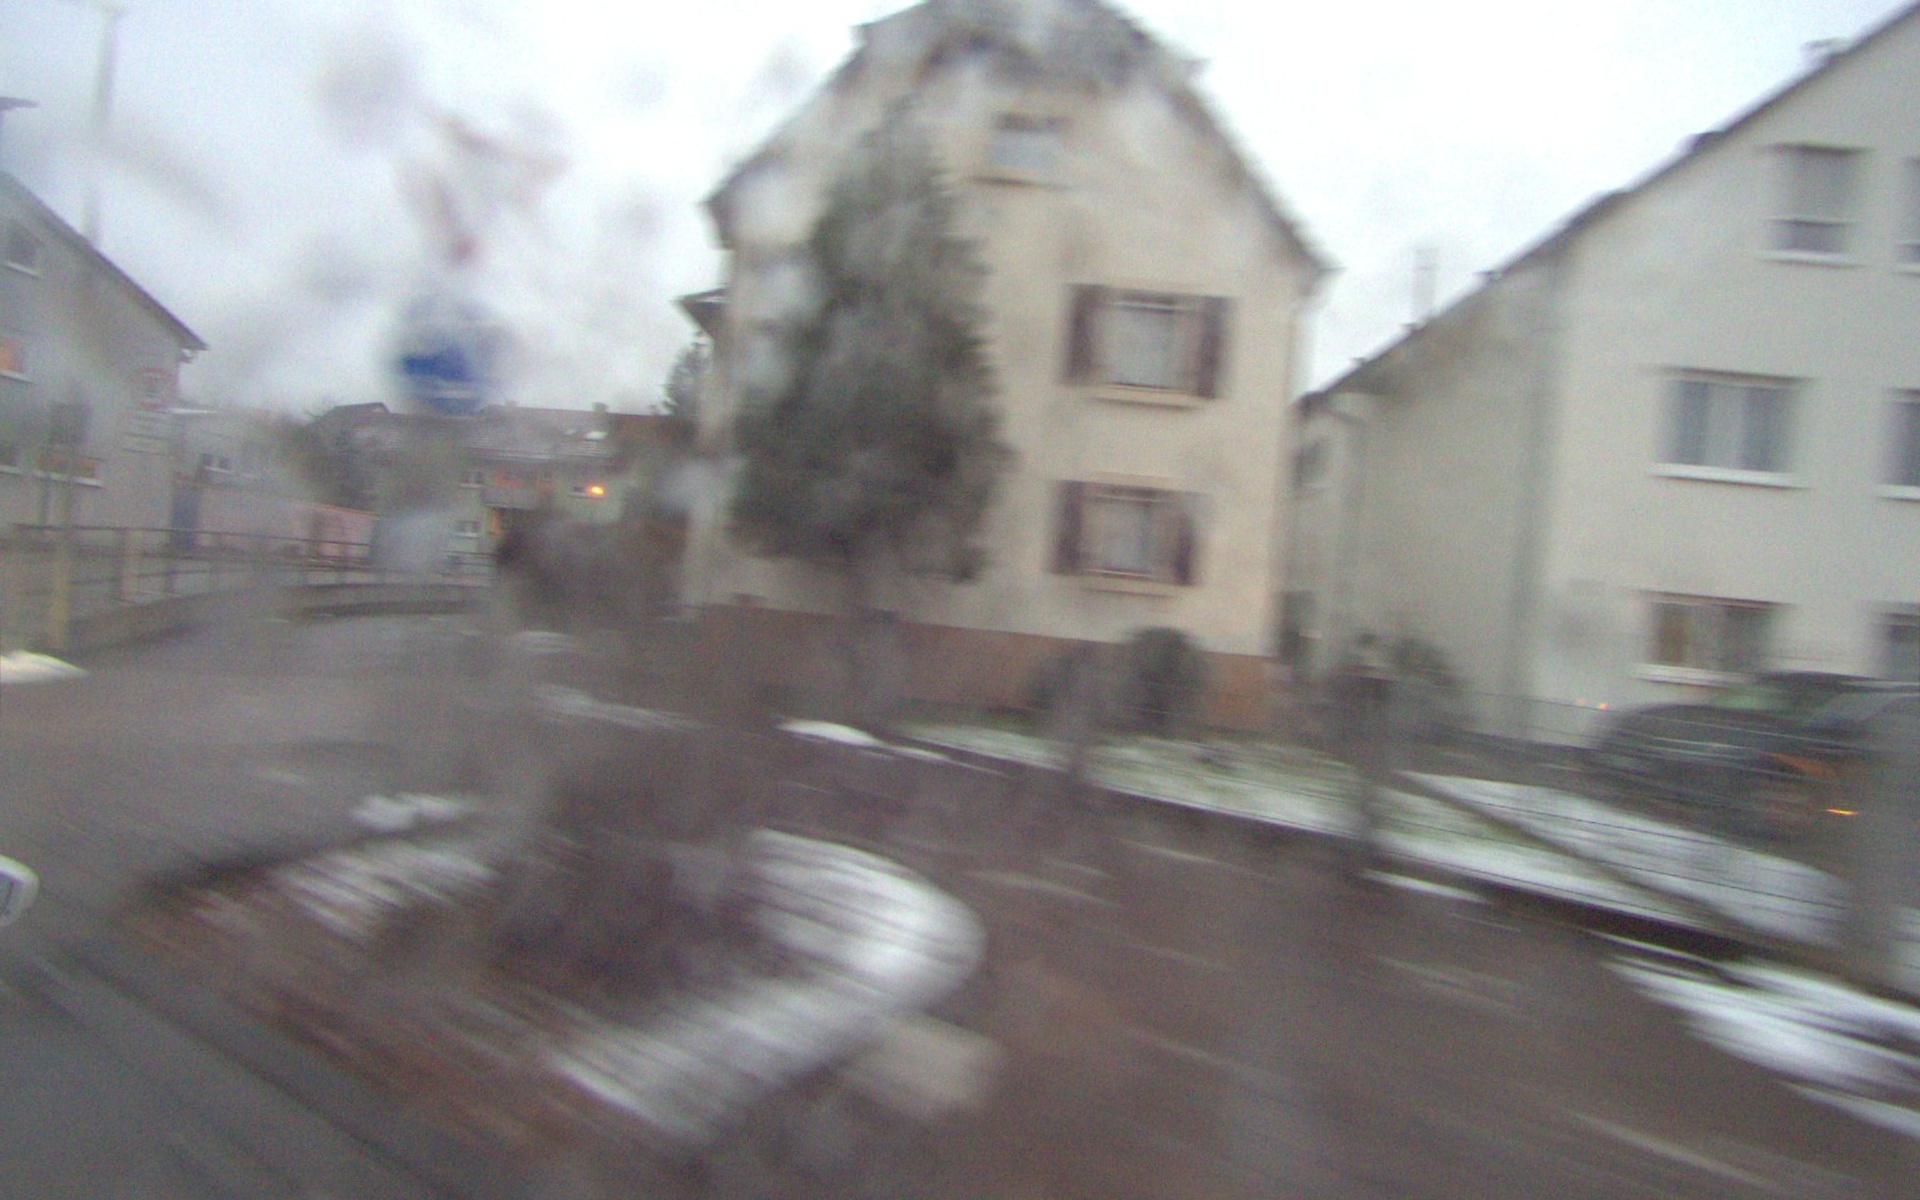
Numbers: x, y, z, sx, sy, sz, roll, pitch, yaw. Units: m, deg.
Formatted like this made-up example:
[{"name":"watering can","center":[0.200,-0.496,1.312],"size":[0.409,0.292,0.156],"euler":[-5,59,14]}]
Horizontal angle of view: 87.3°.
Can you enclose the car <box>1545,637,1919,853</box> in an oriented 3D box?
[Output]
[{"name":"car","center":[8.348,1.425,9.951],"size":[3.926,1.587,1.813],"euler":[6,2,-2]}]
